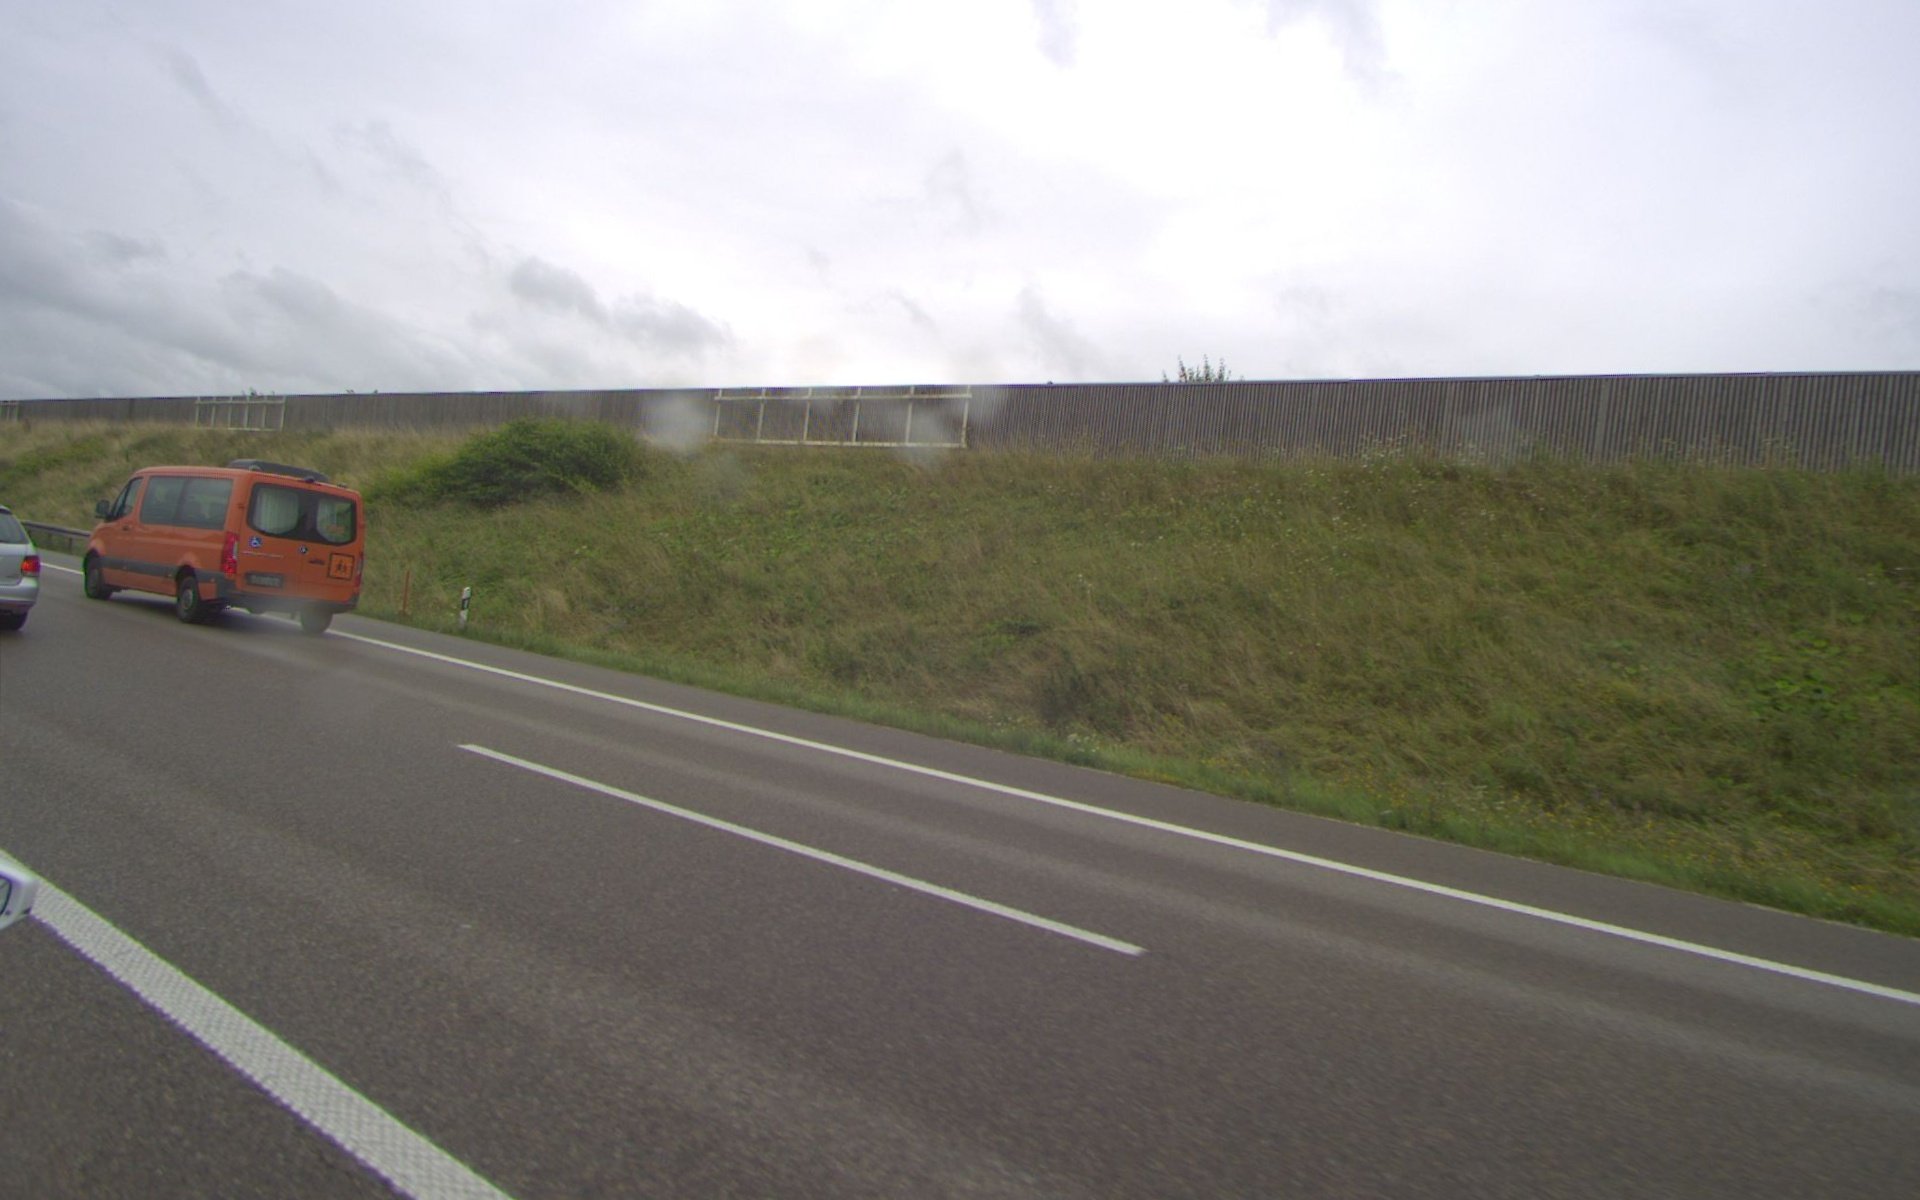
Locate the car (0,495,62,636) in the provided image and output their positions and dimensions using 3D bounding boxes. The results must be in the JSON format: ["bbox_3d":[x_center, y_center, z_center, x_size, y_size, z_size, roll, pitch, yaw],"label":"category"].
[{"bbox_3d":[-12.116,-0.613,11.346,4.443,1.442,1.744,7,0,32],"label":"car"}]

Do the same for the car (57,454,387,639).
[{"bbox_3d":[-12.309,-0.948,16.618,6.078,2.343,2.089,7,0,32],"label":"car"}]
